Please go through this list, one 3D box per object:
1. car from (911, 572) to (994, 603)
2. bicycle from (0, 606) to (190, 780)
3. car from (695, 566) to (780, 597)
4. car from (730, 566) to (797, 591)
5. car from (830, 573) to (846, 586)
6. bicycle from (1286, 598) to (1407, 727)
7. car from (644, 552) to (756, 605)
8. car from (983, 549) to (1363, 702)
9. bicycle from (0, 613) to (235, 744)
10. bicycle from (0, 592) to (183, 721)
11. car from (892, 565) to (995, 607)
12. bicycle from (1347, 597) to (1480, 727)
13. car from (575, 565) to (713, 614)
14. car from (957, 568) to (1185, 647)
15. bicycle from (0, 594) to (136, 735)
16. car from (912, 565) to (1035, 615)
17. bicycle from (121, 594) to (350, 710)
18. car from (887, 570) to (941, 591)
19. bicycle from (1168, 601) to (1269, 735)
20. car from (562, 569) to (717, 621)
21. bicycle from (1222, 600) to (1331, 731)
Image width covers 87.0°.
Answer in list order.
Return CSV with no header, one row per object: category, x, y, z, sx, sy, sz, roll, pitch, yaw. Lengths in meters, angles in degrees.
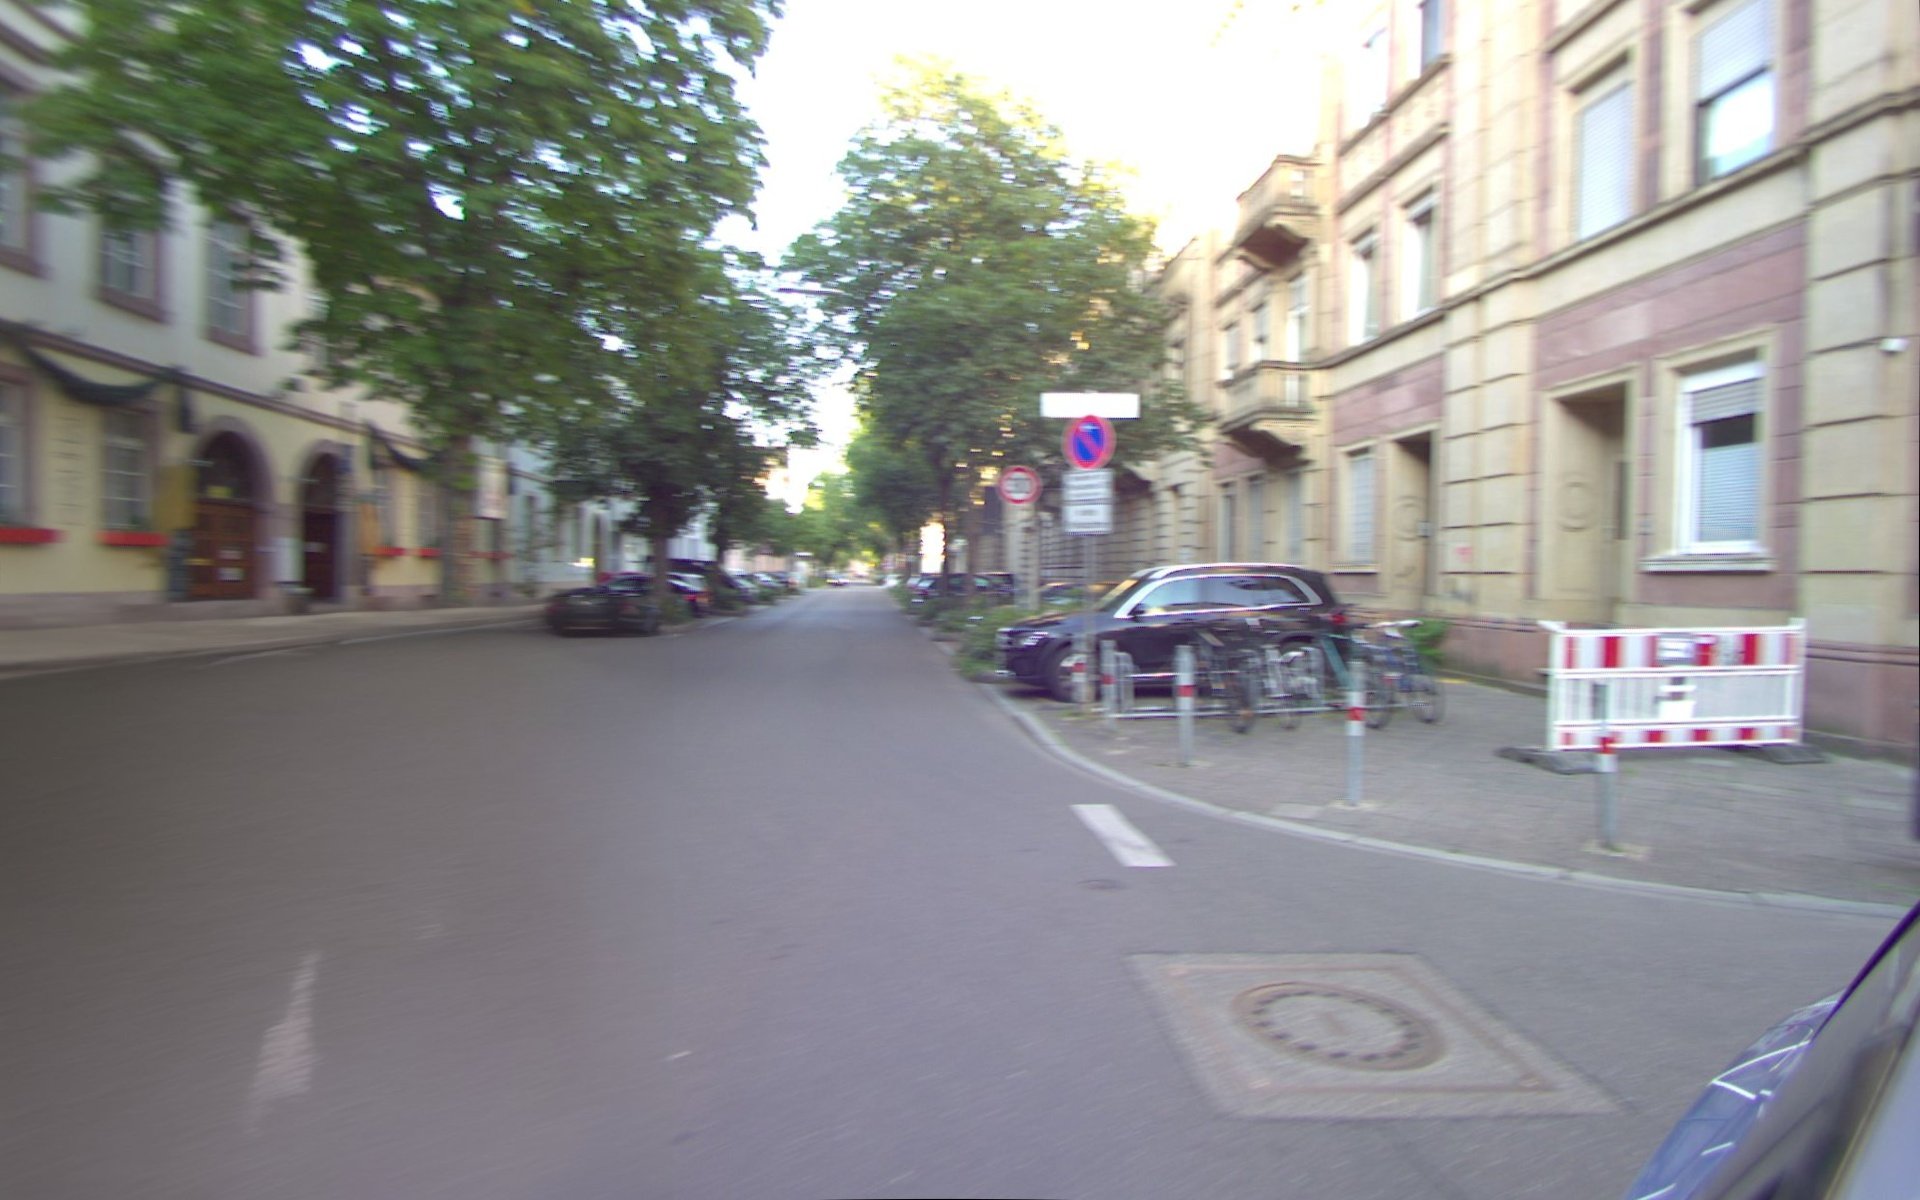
car,-0.419,-0.626,49.776,3.953,1.501,1.778,1,1,-4
bicycle,-6.580,0.629,7.062,2.002,1.160,0.447,1,1,-4
car,-12.180,-1.036,55.528,4.358,1.633,1.778,1,1,-4
car,-13.446,-1.487,69.352,4.358,1.633,1.778,1,1,-4
car,-13.755,-2.342,114.344,1.791,1.389,4.005,0,2,-6
bicycle,3.856,0.572,10.239,0.357,1.102,1.873,-1,3,-5
car,-10.958,-0.909,42.878,4.358,2.149,1.778,1,1,-4
car,2.638,0.255,13.167,4.501,1.759,1.779,-1,2,-4
bicycle,-7.088,0.629,8.230,2.001,1.016,0.422,1,1,-6
bicycle,-8.432,0.519,9.407,2.001,1.160,0.422,1,1,-6
car,-0.767,-0.606,44.035,4.358,1.760,1.778,1,1,-4
bicycle,4.524,0.567,10.234,0.357,1.102,1.873,-1,3,-5
car,-11.021,-0.378,35.530,4.358,1.633,1.778,1,1,-4
car,2.177,0.130,20.673,4.358,1.506,1.778,1,1,-4
bicycle,-8.239,0.535,8.618,2.001,1.160,0.422,1,1,-6
car,0.446,-0.369,37.076,4.358,1.760,1.778,1,1,-4
bicycle,-7.515,0.536,10.552,2.001,1.160,0.422,1,1,-6
car,-3.748,-1.595,82.295,4.358,1.668,1.778,1,1,-4
bicycle,2.518,0.613,10.035,0.357,1.102,1.873,-1,3,-5
car,-9.975,-0.167,31.778,4.358,1.524,1.778,1,1,-4
bicycle,3.151,0.604,10.237,0.357,1.102,1.873,-1,3,-5
